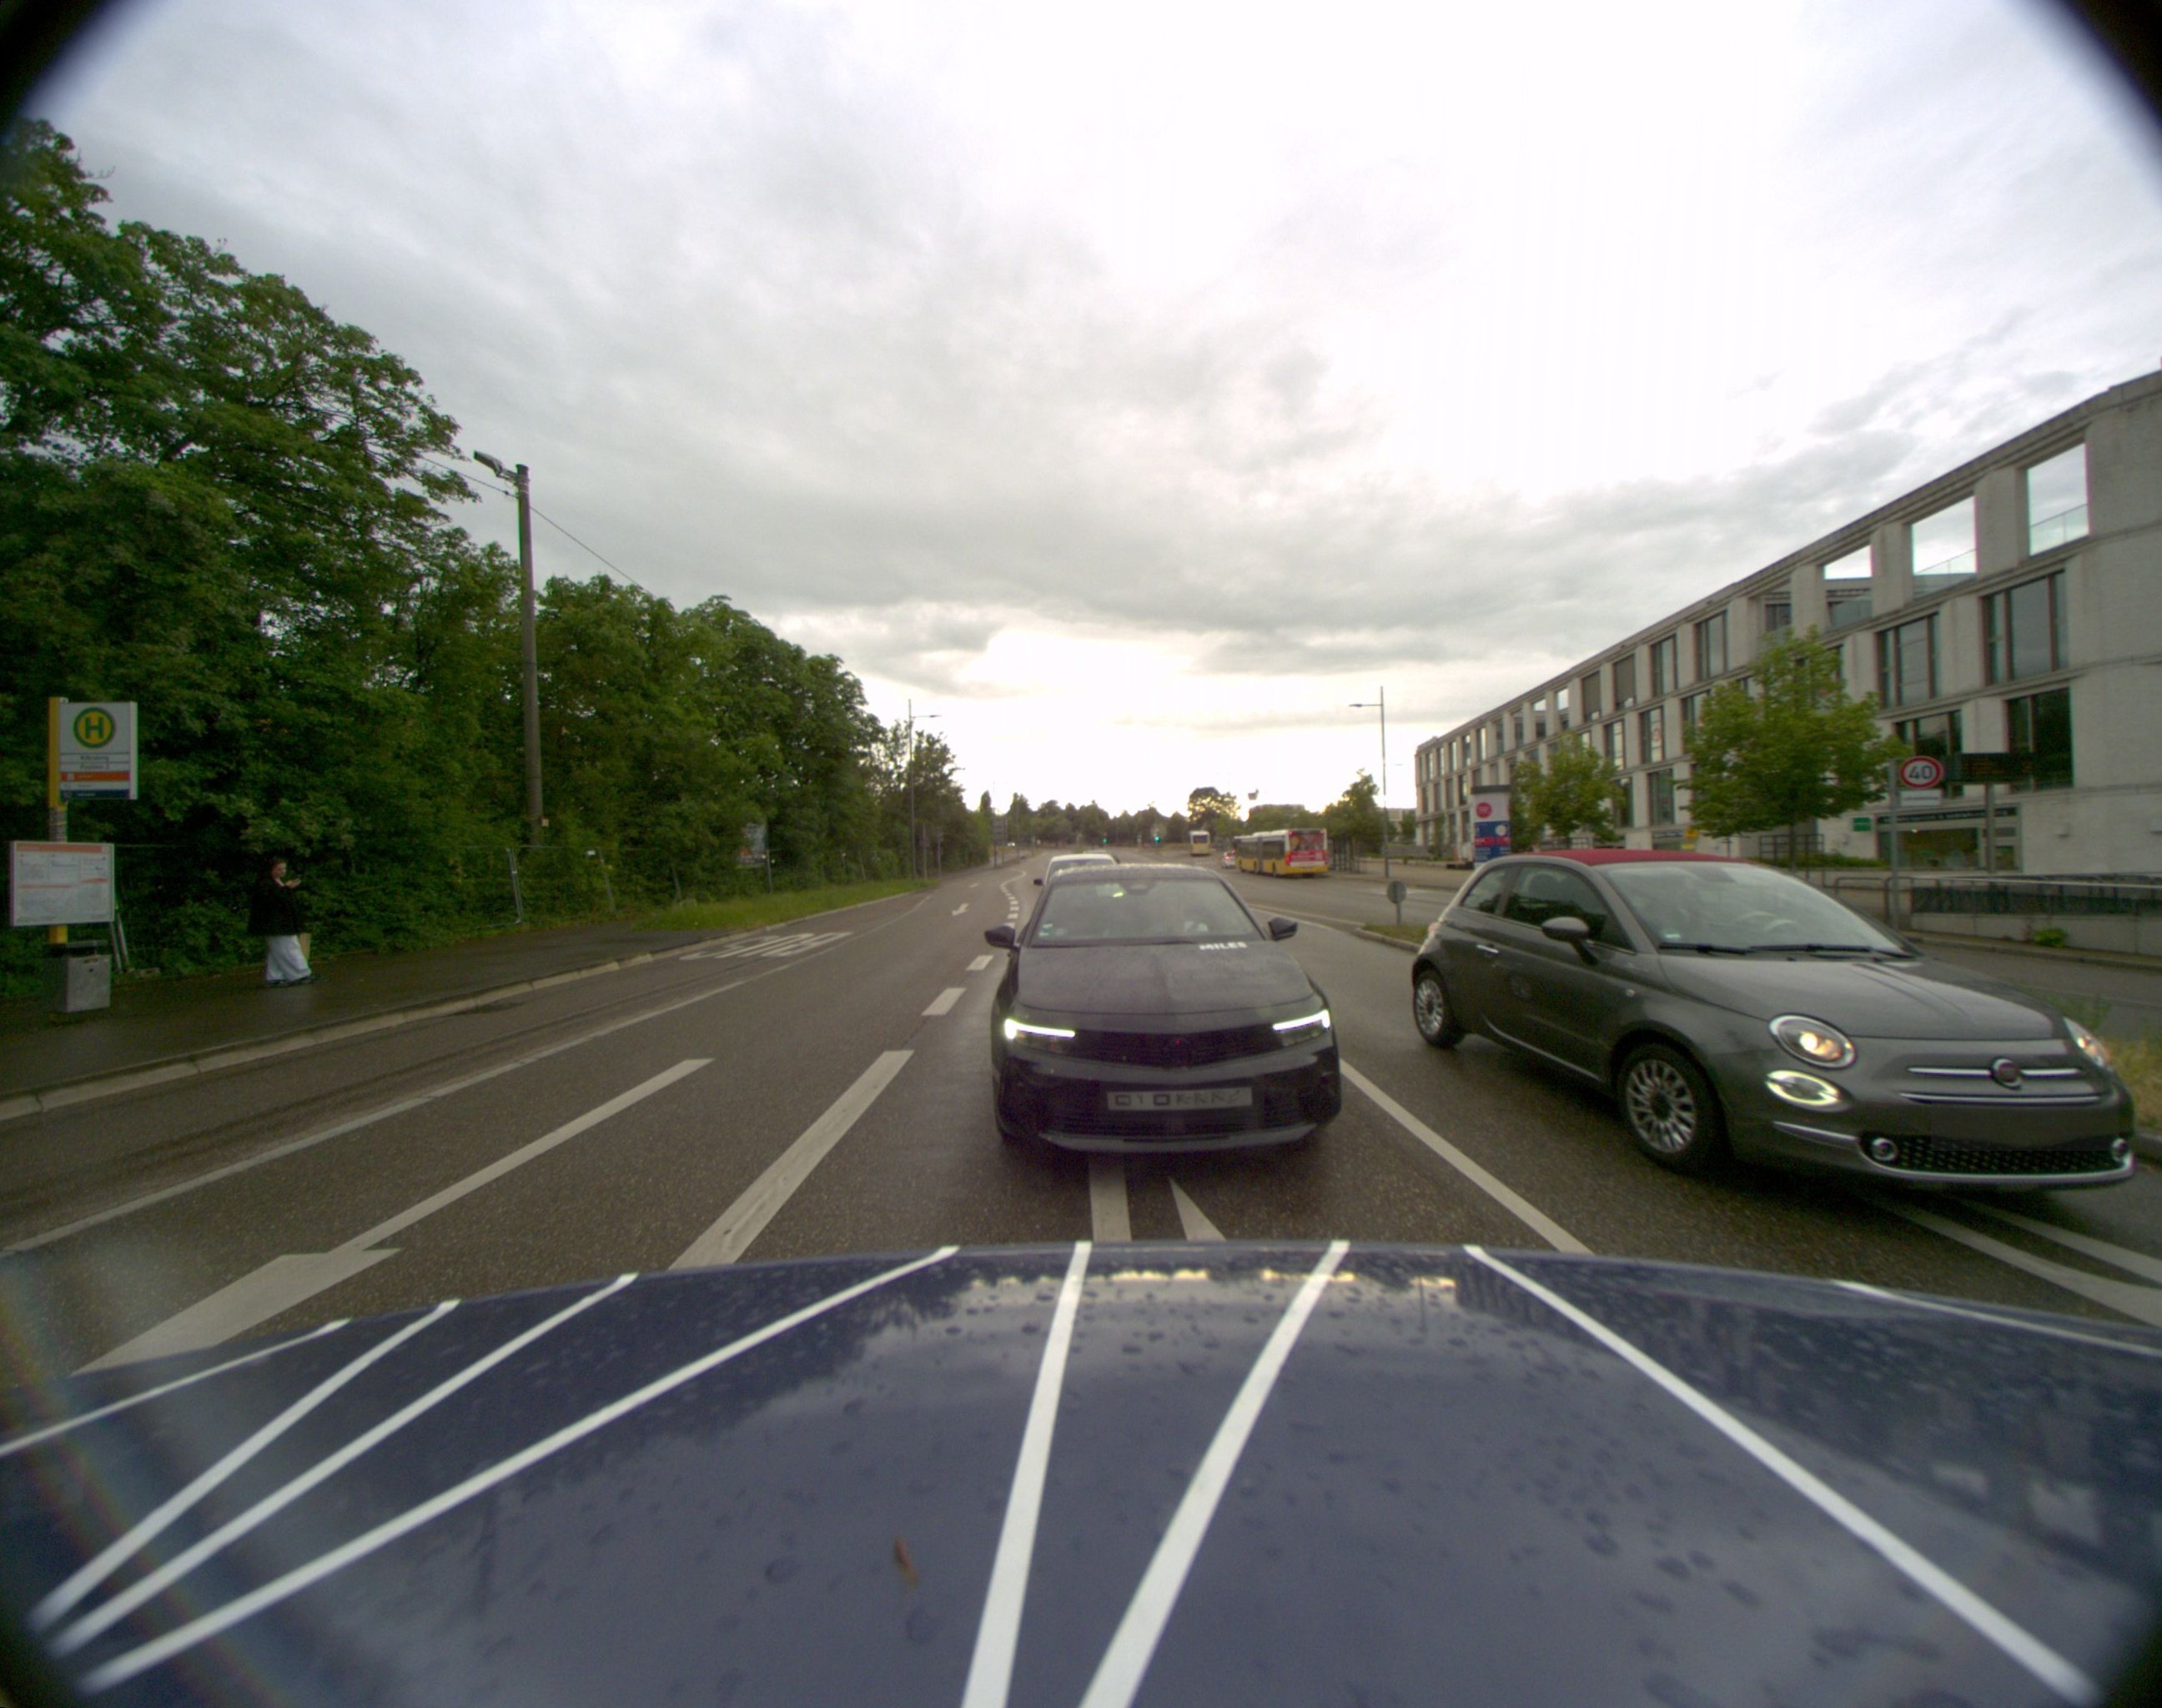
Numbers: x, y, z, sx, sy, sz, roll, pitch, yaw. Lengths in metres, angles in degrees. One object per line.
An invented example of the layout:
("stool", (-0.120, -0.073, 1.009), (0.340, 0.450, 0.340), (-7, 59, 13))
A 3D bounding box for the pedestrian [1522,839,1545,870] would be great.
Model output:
("pedestrian", (23.266, 0.032, 39.054), (0.981, 1.572, 0.868), (-2, 1, 30))

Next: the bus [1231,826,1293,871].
("bus", (14.104, -0.453, 60.038), (2.693, 3.163, 9.912), (-2, 1, 2))

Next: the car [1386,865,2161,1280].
("car", (3.432, 0.851, 4.640), (1.631, 1.473, 3.505), (-1, 1, -2))

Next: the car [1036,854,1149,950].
("car", (0.133, 0.831, 15.513), (1.901, 1.524, 4.766), (-2, 1, -2))

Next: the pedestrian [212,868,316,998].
("pedestrian", (-10.637, 1.007, 9.917), (0.588, 1.618, 0.661), (-1, 1, 1))

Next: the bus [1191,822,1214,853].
("bus", (18.439, -2.429, 114.311), (2.757, 4.129, 19.359), (-2, 1, 11))

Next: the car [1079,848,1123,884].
("car", (0.965, 0.553, 38.617), (1.934, 1.649, 4.617), (-1, 0, -2))

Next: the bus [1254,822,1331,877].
("bus", (13.813, -0.313, 50.533), (2.759, 3.194, 9.207), (-2, 1, 2))

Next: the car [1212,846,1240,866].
("car", (13.568, 0.160, 71.450), (1.867, 1.777, 3.999), (-2, 1, 1))

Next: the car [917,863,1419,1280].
("car", (0.372, 0.882, 5.342), (1.901, 1.456, 4.767), (-2, 1, 1))
